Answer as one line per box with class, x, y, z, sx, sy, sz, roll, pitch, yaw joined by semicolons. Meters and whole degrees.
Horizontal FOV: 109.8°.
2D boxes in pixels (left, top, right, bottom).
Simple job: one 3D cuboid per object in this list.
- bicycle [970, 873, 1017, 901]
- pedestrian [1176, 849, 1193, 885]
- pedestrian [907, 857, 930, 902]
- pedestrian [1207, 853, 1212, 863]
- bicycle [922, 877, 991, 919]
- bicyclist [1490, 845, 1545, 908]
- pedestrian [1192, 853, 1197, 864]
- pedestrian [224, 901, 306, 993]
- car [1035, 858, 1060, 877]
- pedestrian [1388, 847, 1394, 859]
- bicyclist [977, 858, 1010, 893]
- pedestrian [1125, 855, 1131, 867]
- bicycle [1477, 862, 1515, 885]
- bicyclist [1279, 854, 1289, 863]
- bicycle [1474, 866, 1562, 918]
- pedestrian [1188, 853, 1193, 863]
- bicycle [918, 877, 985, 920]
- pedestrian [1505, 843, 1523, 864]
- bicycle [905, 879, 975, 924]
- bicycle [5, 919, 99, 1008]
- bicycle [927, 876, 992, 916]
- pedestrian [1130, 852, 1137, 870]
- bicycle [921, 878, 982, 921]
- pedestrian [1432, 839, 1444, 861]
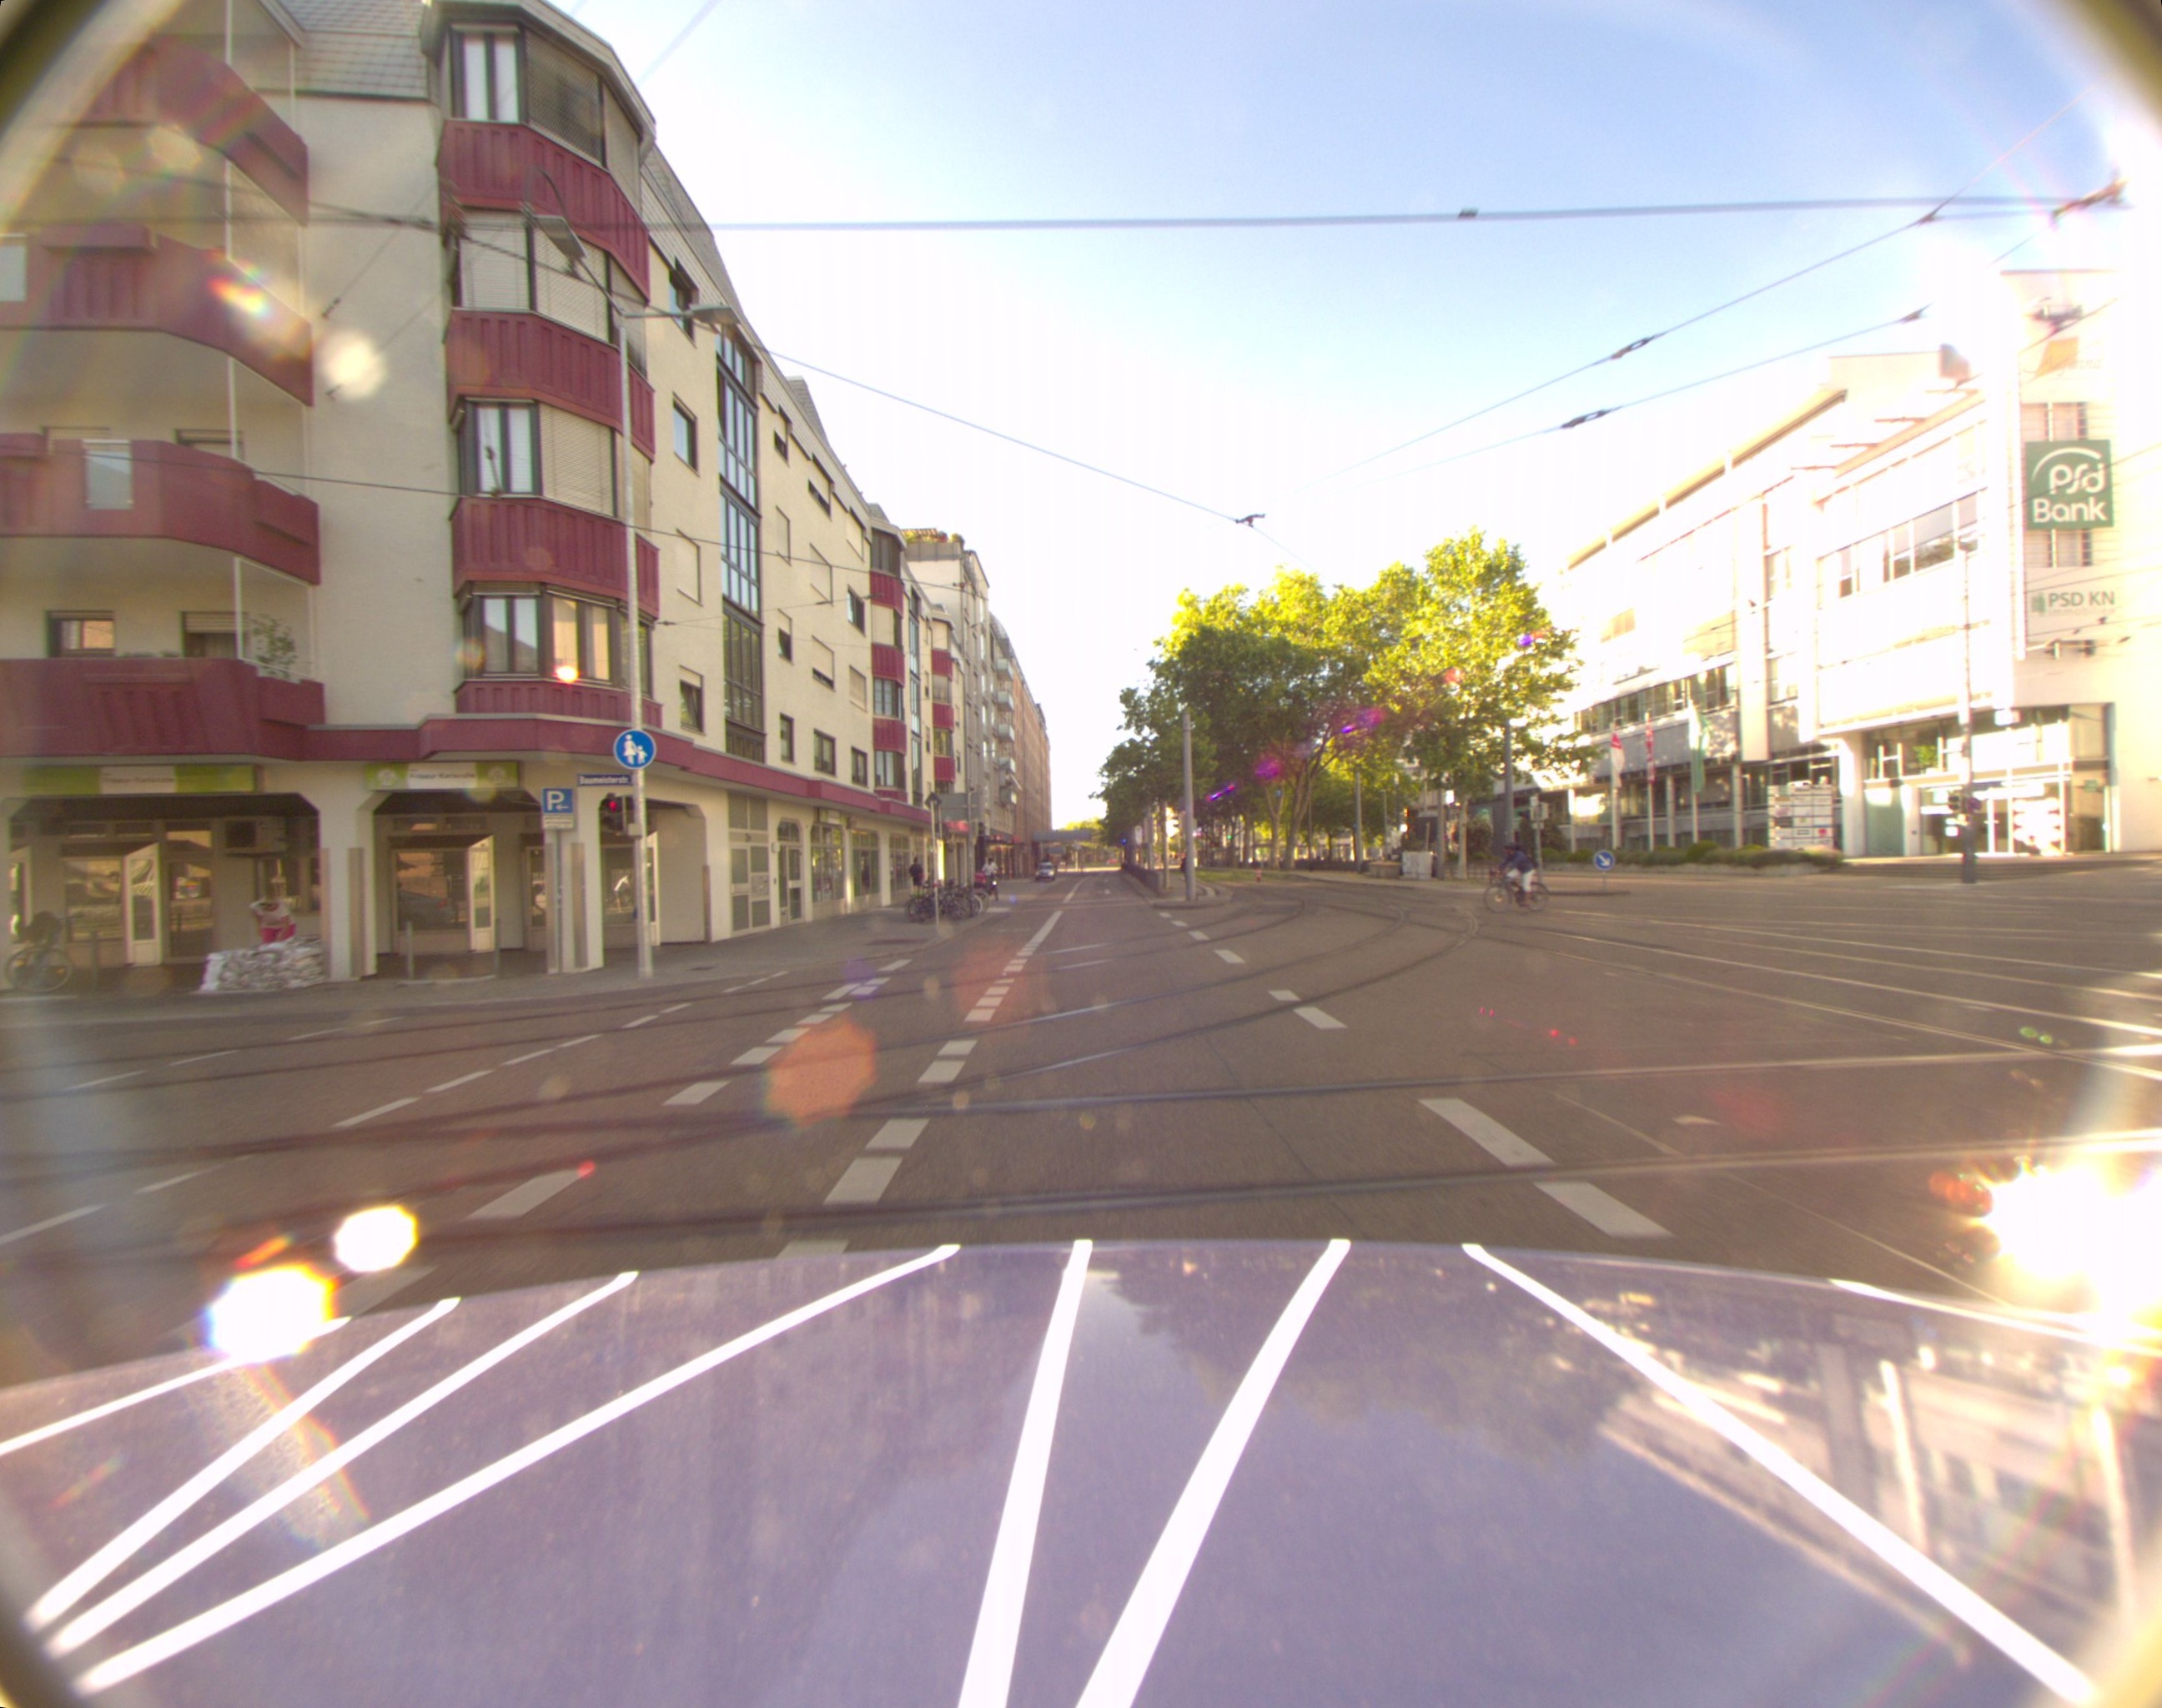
bicycle;-3.983;1.456;34.327;0.965;1.176;2.591;-1;0;-35
pedestrian;5.029;0.646;37.019;0.735;1.736;0.712;-2;0;7
pedestrian;-6.705;1.038;31.299;0.724;1.847;0.801;-1;0;1
pedestrian;18.846;0.636;111.627;0.554;1.488;0.551;-1;0;-9
bicycle;-3.788;1.326;23.155;1.982;1.192;0.591;-1;0;-3
bicyclist;10.718;0.535;18.662;0.882;1.485;0.722;-2;0;-15
pedestrian;18.966;0.780;126.811;0.656;1.744;0.676;-1;0;-6
pedestrian;-12.851;1.446;11.983;0.664;1.342;0.655;-1;0;-25
car;-2.989;1.225;68.790;1.837;1.613;4.285;1;0;3
pedestrian;41.400;-0.125;101.536;0.579;1.595;0.580;-2;0;7
bicyclist;-3.933;0.946;34.237;1.062;1.531;1.076;-1;0;-35
pedestrian;6.579;0.961;105.699;0.742;1.680;0.645;-3;0;1
bicycle;17.384;0.803;31.889;0.814;0.940;1.727;-1;0;8
bicyclist;29.494;0.654;110.314;1.007;1.242;1.374;-3;-1;-5
bicycle;10.742;0.914;18.670;2.044;1.182;0.590;-2;0;-15
pedestrian;18.224;0.610;126.832;0.686;1.686;0.699;-1;0;-6
bicycle;-3.792;1.311;22.315;1.835;1.213;0.496;-1;0;5
pedestrian;32.203;-0.027;56.473;0.908;1.583;0.767;-1;0;1
bicycle;-3.888;1.311;21.005;1.805;1.192;0.546;-1;0;6
bicycle;-15.909;1.654;11.738;1.793;1.192;0.617;-1;1;29
bicycle;-3.792;1.309;23.787;1.945;1.163;0.572;-1;0;-1
pedestrian;5.529;0.734;80.139;0.647;1.875;0.661;-1;0;2
bicycle;-3.692;1.301;21.736;1.626;1.192;0.496;-1;0;6
pedestrian;32.641;-0.365;69.422;0.607;1.964;0.834;-3;0;0
